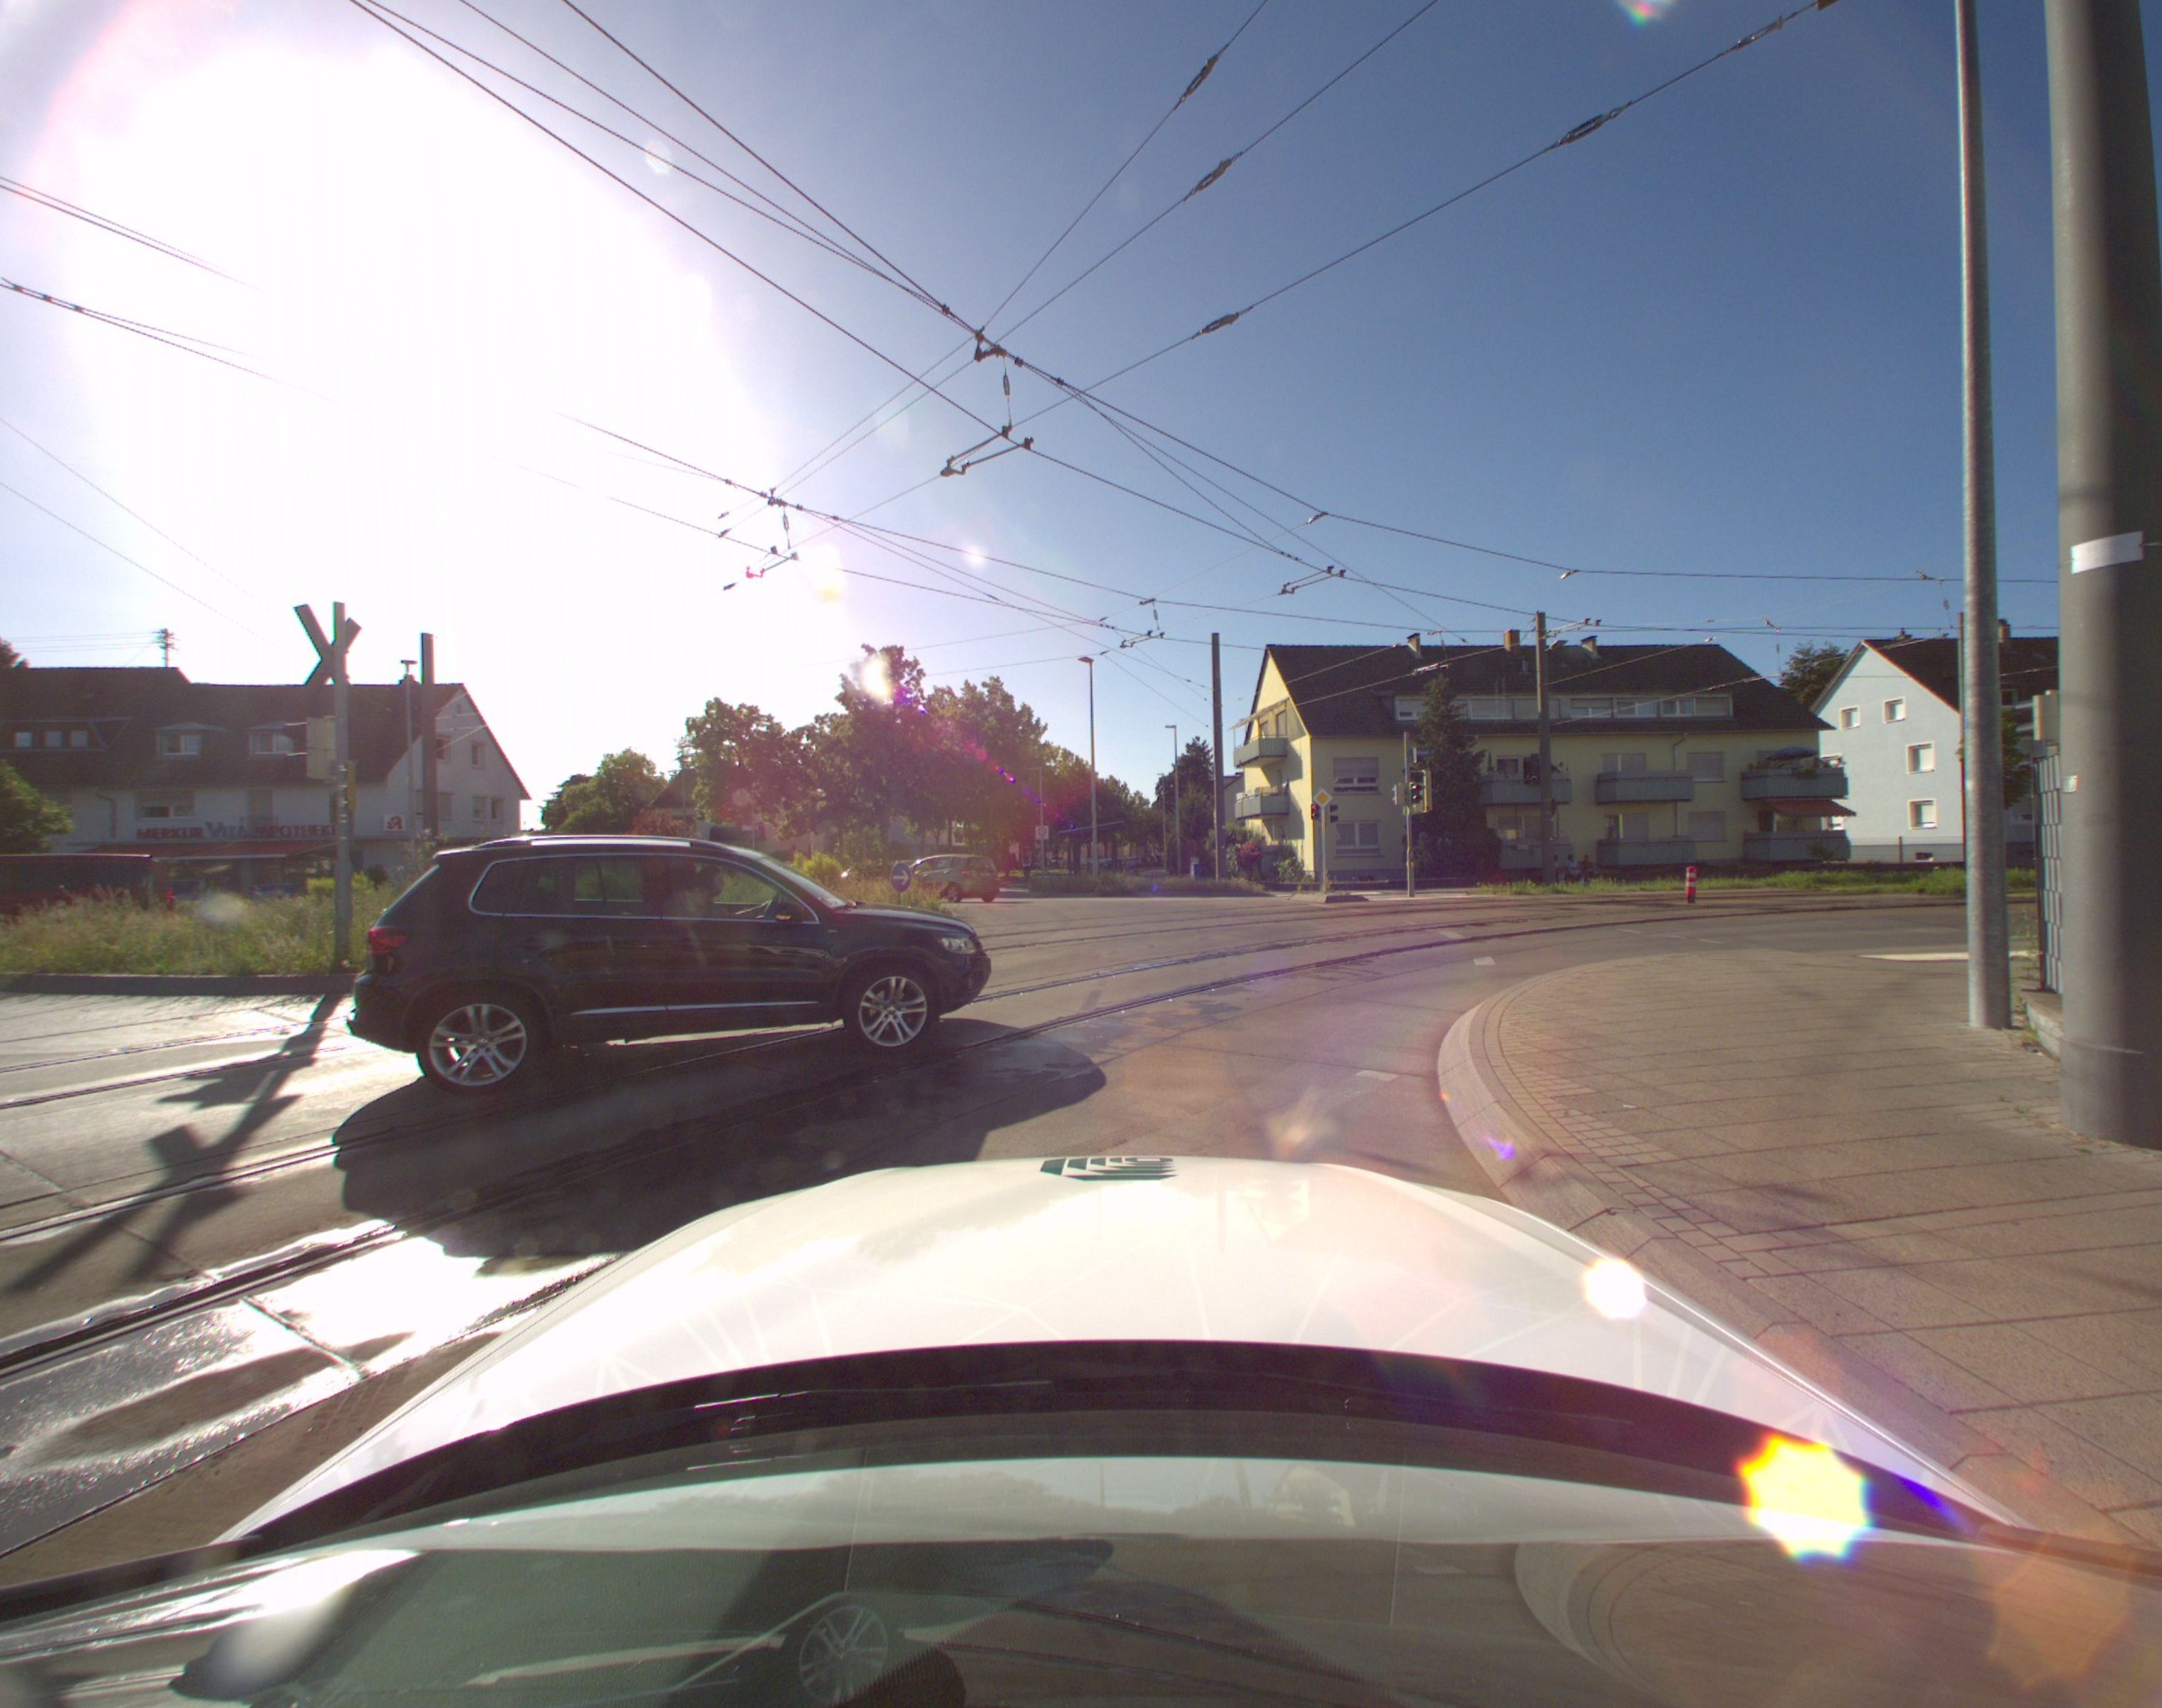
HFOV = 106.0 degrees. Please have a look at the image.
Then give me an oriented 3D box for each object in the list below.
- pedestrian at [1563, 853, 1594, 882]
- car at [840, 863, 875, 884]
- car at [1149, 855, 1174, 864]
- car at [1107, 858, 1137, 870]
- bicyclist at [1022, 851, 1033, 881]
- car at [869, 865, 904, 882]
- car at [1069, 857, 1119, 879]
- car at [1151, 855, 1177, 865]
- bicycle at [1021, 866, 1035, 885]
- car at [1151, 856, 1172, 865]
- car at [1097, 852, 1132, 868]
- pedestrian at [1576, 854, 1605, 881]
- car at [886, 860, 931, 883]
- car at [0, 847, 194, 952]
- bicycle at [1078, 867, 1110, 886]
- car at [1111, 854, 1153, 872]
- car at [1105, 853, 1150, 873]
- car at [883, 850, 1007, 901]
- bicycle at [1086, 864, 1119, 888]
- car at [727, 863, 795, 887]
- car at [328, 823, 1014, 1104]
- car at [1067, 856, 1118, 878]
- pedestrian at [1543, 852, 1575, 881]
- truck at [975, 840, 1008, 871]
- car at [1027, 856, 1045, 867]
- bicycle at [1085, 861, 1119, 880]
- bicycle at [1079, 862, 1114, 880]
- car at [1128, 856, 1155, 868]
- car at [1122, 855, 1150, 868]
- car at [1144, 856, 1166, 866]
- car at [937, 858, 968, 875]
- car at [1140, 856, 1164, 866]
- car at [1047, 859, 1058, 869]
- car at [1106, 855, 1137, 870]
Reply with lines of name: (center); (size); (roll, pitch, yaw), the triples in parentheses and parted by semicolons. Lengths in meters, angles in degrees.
pedestrian: (18.513, 0.496, 30.281); (0.629, 1.065, 0.811); (0, -1, -36)
car: (-16.923, 1.464, 61.797); (1.796, 1.464, 3.796); (0, 0, -4)
car: (11.202, 0.729, 113.371); (3.502, 1.279, 1.579); (0, 0, 3)
car: (4.839, 1.187, 95.557); (3.422, 1.394, 1.240); (0, 0, 7)
bicyclist: (-3.128, 0.700, 47.348); (0.602, 1.714, 0.543); (-2, -4, -4)
car: (-16.160, 1.603, 67.947); (1.955, 1.324, 3.999); (0, 0, -1)
car: (0.954, 1.008, 59.041); (3.501, 1.533, 1.579); (0, 0, 4)
car: (11.544, 0.814, 113.371); (3.502, 1.296, 1.579); (0, 0, 3)
bicycle: (-3.066, 1.251, 47.193); (0.764, 1.037, 1.532); (-1, -2, -4)
car: (13.801, 1.170, 139.965); (3.502, 1.533, 1.579); (0, 0, 3)
car: (3.350, 0.596, 81.113); (3.501, 1.533, 1.579); (0, 0, 4)
pedestrian: (19.063, 0.502, 30.499); (0.596, 1.006, 0.718); (0, -1, -27)
car: (-12.836, 1.275, 60.859); (1.820, 1.580, 4.450); (0, 0, 8)
car: (-21.684, 0.917, 16.189); (1.984, 1.981, 5.246); (-2, 1, 5)
bicycle: (0.687, 1.188, 43.220); (1.684, 1.027, 0.599); (0, 0, -1)
car: (4.270, 0.745, 68.331); (3.501, 1.533, 1.579); (0, 0, 4)
car: (3.638, 0.688, 63.946); (3.501, 1.533, 1.579); (0, 0, 4)
car: (-4.400, 0.676, 26.174); (3.863, 1.491, 1.704); (-2, 0, 37)
bicycle: (1.089, 1.148, 41.934); (1.660, 1.208, 0.689); (0, 0, 0)
car: (-22.905, 1.507, 58.438); (4.019, 1.694, 2.003); (0, 0, 4)
car: (-2.823, 0.624, 6.514); (4.256, 1.670, 1.807); (-2, 2, -18)
car: (0.832, 0.927, 57.291); (3.501, 1.533, 1.579); (0, 0, 4)
pedestrian: (17.667, 0.464, 30.109); (0.685, 1.046, 0.818); (-1, 0, -6)
truck: (-11.641, 0.161, 106.851); (3.056, 3.993, 8.015); (0, 0, 3)
car: (-7.017, 1.112, 127.422); (1.982, 1.699, 4.228); (0, 0, 8)
bicycle: (1.138, 0.908, 44.733); (1.835, 1.027, 0.689); (0, 0, -1)
bicycle: (0.850, 0.941, 45.638); (1.967, 1.027, 0.696); (0, 0, -1)
car: (7.707, 0.993, 104.064); (3.464, 1.493, 1.553); (0, 0, 3)
car: (6.677, 0.929, 99.342); (3.345, 1.533, 1.524); (0, 0, 3)
car: (12.164, 1.144, 133.944); (3.502, 1.533, 1.579); (0, 0, 3)
car: (-14.027, 1.315, 89.249); (1.983, 1.773, 5.070); (0, 0, 7)
car: (10.771, 1.101, 123.356); (3.502, 1.533, 1.579); (0, 0, 3)
car: (-4.882, 1.712, 140.025); (1.640, 1.648, 3.572); (0, 0, 3)
car: (4.645, 0.988, 93.643); (3.393, 1.533, 1.528); (-2, 0, 7)
